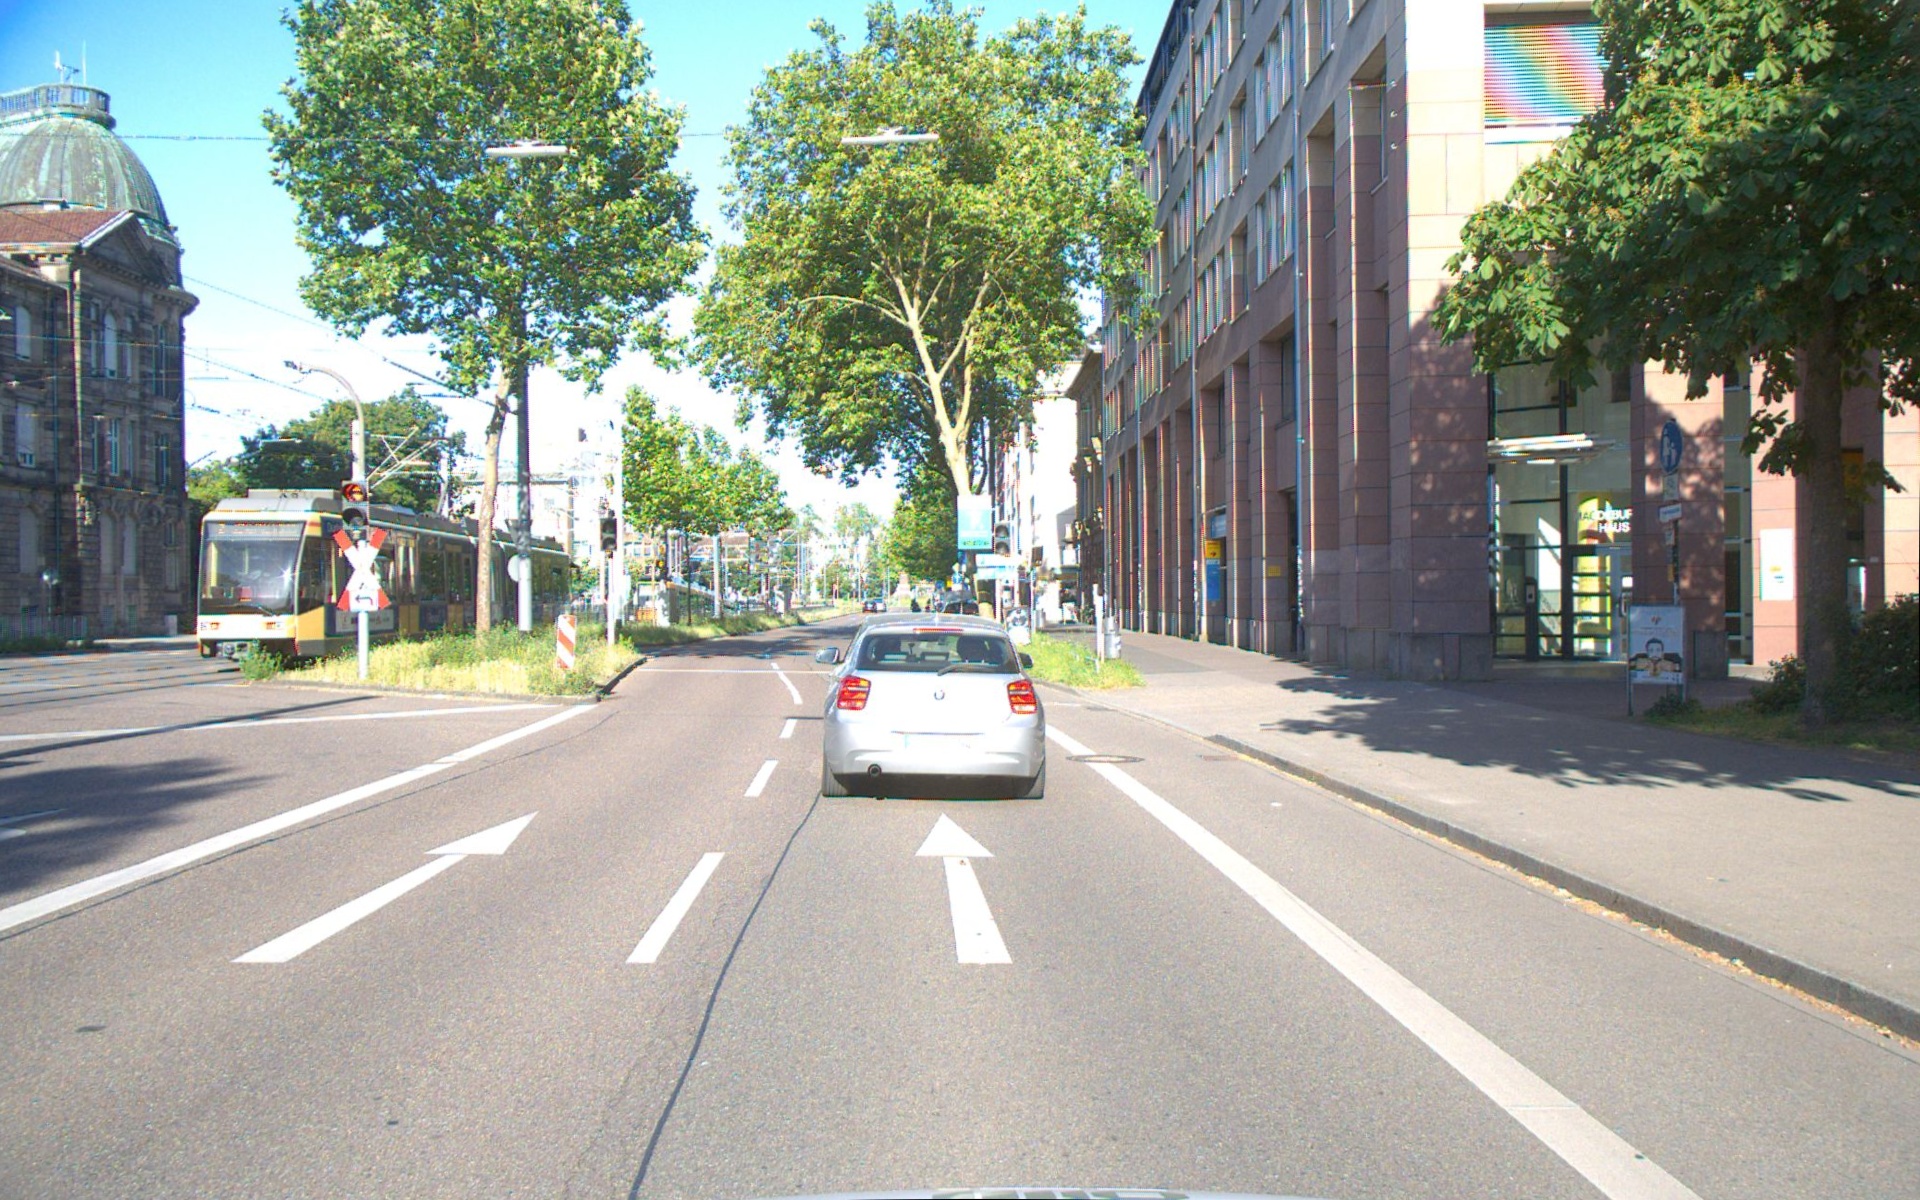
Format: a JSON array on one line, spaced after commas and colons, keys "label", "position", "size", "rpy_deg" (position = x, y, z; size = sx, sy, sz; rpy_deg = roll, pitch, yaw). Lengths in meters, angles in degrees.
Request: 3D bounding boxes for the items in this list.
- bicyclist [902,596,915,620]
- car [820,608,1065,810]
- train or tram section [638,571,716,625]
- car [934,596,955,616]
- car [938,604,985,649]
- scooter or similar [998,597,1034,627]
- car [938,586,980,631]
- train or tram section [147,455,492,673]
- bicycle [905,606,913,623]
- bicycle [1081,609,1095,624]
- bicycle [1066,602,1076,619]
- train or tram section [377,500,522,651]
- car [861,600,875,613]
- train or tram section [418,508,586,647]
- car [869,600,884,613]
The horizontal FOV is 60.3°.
[{"label": "bicyclist", "position": [-3.399, 0.540, 109.279], "size": [0.769, 1.558, 0.894], "rpy_deg": [1, -1, -1]}, {"label": "car", "position": [-0.171, 0.807, 14.086], "size": [1.761, 1.439, 3.999], "rpy_deg": [1, 0, -1]}, {"label": "train or tram section", "position": [-20.165, -0.152, 119.398], "size": [2.904, 3.544, 21.206], "rpy_deg": [-1, 0, -3]}, {"label": "car", "position": [-1.300, 0.452, 137.221], "size": [1.660, 1.528, 3.800], "rpy_deg": [-3, 0, -1]}, {"label": "car", "position": [0.065, 0.961, 61.640], "size": [1.634, 1.598, 4.280], "rpy_deg": [1, 0, 0]}, {"label": "scooter or similar", "position": [2.384, 0.514, 70.581], "size": [1.509, 1.259, 0.449], "rpy_deg": [-1, 0, -1]}, {"label": "car", "position": [-0.076, 0.408, 78.386], "size": [1.818, 2.049, 4.722], "rpy_deg": [1, 0, -1]}, {"label": "train or tram section", "position": [-13.596, -0.627, 37.054], "size": [2.870, 3.879, 14.263], "rpy_deg": [1, 0, -3]}, {"label": "bicycle", "position": [-3.350, 0.953, 109.105], "size": [0.489, 1.107, 1.996], "rpy_deg": [1, 0, -1]}, {"label": "bicycle", "position": [6.747, 0.858, 87.115], "size": [0.537, 0.787, 1.662], "rpy_deg": [-2, 0, -1]}, {"label": "bicycle", "position": [6.342, 0.598, 94.546], "size": [0.406, 1.015, 1.882], "rpy_deg": [0, 0, -1]}, {"label": "train or tram section", "position": [-14.137, -0.655, 46.092], "size": [2.896, 3.965, 3.863], "rpy_deg": [1, 0, -4]}, {"label": "car", "position": [-10.718, 0.767, 192.569], "size": [1.692, 1.496, 4.407], "rpy_deg": [0, 0, -4]}, {"label": "train or tram section", "position": [-14.515, -0.632, 53.428], "size": [2.894, 3.965, 10.795], "rpy_deg": [1, 0, -3]}, {"label": "car", "position": [-10.151, 0.784, 200.652], "size": [1.611, 1.446, 3.999], "rpy_deg": [1, 0, -1]}]
